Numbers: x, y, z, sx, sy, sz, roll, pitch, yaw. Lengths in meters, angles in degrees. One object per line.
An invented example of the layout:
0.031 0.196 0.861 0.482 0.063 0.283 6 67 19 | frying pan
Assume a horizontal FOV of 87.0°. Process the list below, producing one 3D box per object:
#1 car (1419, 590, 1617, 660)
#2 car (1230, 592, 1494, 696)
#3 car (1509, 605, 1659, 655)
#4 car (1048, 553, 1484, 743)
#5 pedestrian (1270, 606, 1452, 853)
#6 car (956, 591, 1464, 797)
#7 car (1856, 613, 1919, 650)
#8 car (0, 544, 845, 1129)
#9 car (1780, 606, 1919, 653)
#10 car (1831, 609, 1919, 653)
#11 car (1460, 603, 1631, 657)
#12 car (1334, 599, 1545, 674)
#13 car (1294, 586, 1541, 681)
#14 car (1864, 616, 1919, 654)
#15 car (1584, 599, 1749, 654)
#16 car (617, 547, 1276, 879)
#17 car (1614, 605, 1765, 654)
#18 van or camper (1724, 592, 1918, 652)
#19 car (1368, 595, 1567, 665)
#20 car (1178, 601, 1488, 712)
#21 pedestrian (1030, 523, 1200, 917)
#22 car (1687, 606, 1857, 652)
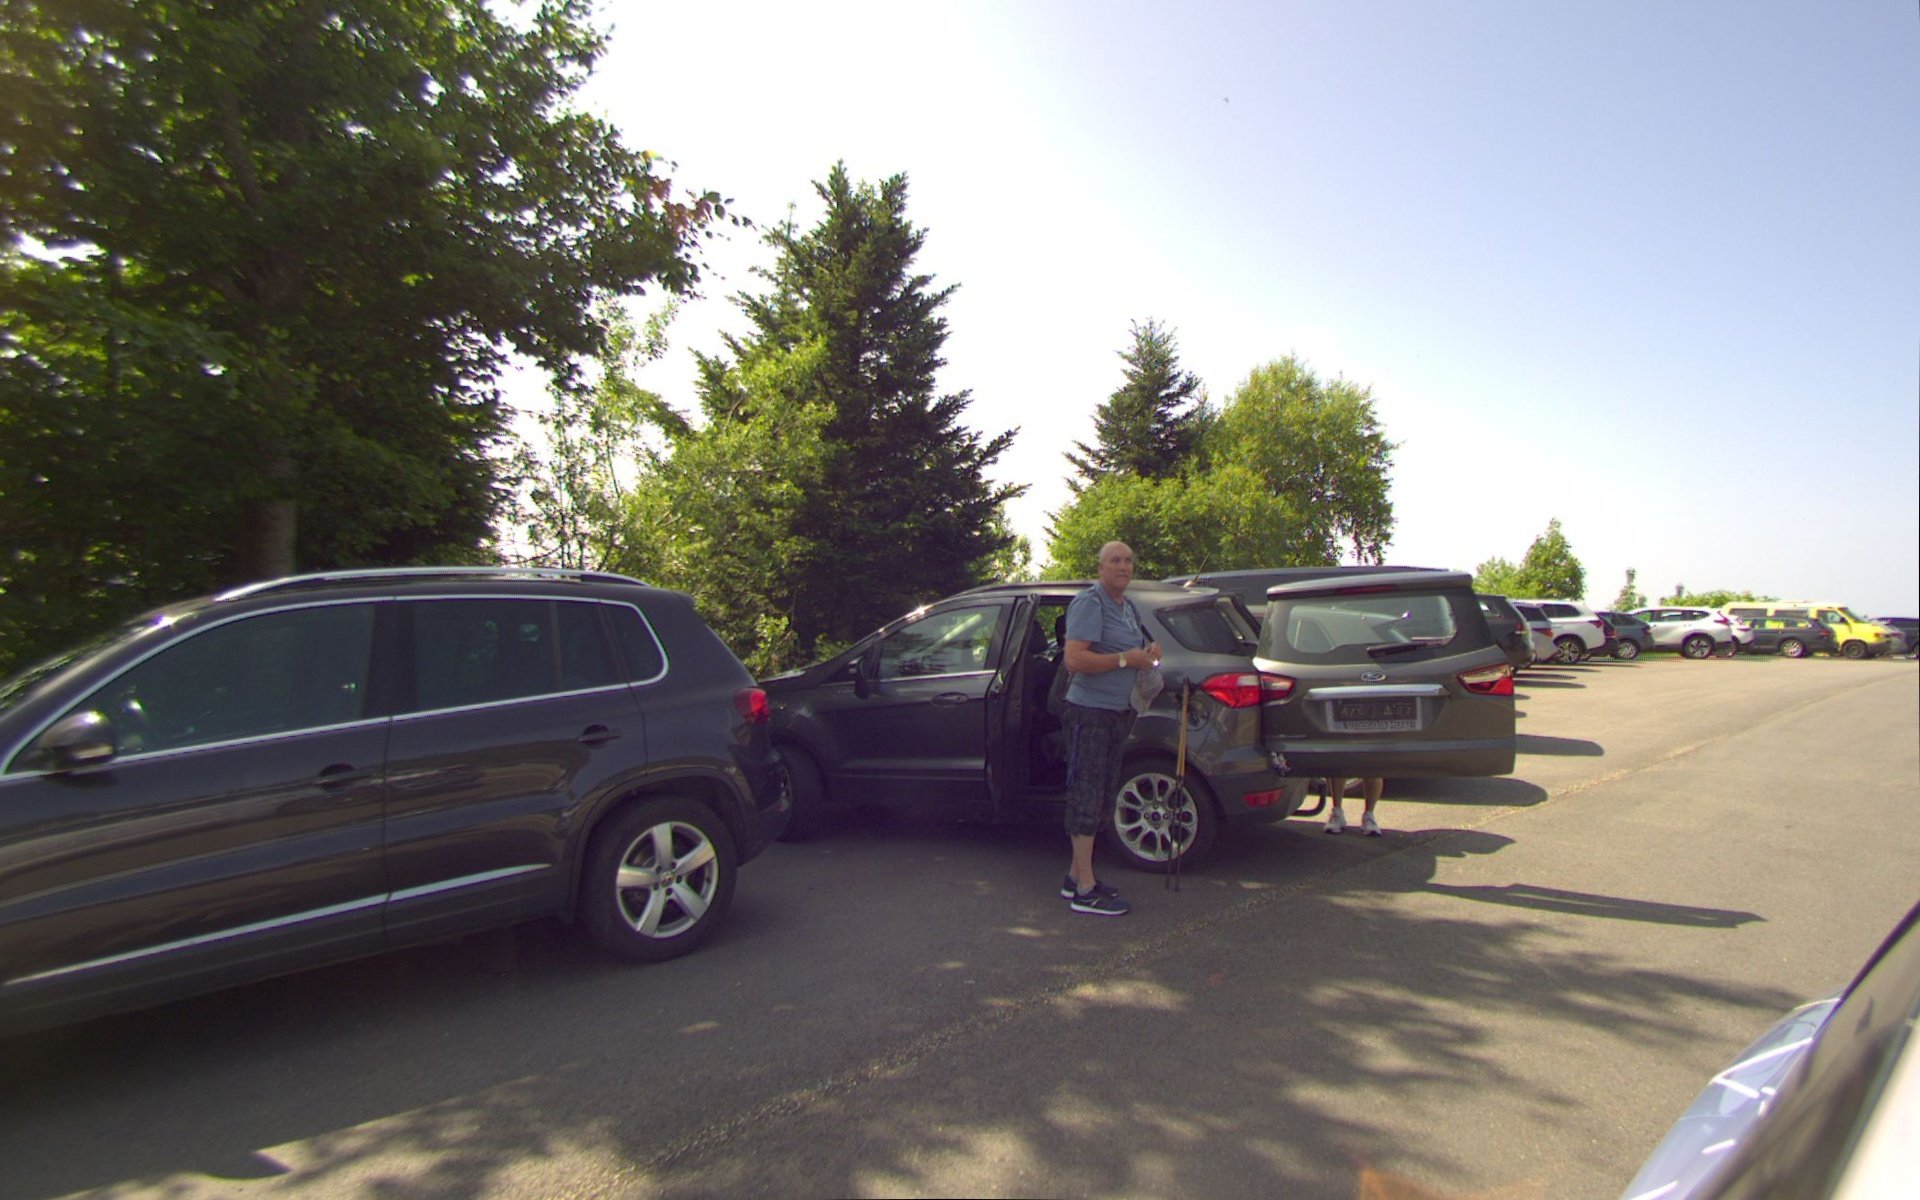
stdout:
14.528 0.633 26.597 4.161 1.716 1.857 1 -1 12 | car
6.729 0.706 17.236 3.951 1.610 1.850 0 -1 21 | car
19.084 0.896 31.138 3.769 1.478 1.647 0 -1 27 | car
3.610 0.505 12.211 4.733 1.904 1.945 -1 -1 31 | car
2.555 0.778 6.475 0.656 1.420 0.776 3 1 -35 | pedestrian
2.121 0.689 8.842 3.956 1.461 1.825 0 -1 24 | car
43.128 1.451 45.356 4.396 1.588 1.877 0 -2 44 | car
-2.716 0.694 4.069 4.235 1.653 1.745 -1 -2 -42 | car
33.963 1.099 38.408 1.673 1.609 4.162 2 -1 -37 | car
36.617 1.217 39.395 3.988 1.634 1.886 1 -1 44 | car
16.863 0.836 29.402 4.002 1.480 1.881 0 -1 21 | car
10.238 0.740 21.892 3.955 1.495 1.754 0 0 23 | car
8.882 0.623 19.977 4.225 1.716 1.975 0 -1 23 | car
40.755 1.542 42.535 3.982 1.529 1.815 2 -1 40 | car
22.672 0.842 32.681 4.148 1.671 1.872 -1 -1 30 | car
-0.040 0.669 6.819 3.952 1.683 1.985 -3 -2 22 | car
24.809 0.953 34.543 4.076 1.519 1.918 1 0 38 | car
31.254 0.799 36.906 1.846 2.040 5.104 3 -2 -36 | van or camper
11.966 0.697 24.156 3.944 1.569 1.810 0 -1 17 | car
5.226 0.751 14.587 3.947 1.433 1.734 0 -1 18 | car
0.737 0.540 4.941 0.620 1.783 0.581 -1 -1 -12 | pedestrian
28.531 1.028 35.696 1.778 1.507 4.361 3 -3 -37 | car
